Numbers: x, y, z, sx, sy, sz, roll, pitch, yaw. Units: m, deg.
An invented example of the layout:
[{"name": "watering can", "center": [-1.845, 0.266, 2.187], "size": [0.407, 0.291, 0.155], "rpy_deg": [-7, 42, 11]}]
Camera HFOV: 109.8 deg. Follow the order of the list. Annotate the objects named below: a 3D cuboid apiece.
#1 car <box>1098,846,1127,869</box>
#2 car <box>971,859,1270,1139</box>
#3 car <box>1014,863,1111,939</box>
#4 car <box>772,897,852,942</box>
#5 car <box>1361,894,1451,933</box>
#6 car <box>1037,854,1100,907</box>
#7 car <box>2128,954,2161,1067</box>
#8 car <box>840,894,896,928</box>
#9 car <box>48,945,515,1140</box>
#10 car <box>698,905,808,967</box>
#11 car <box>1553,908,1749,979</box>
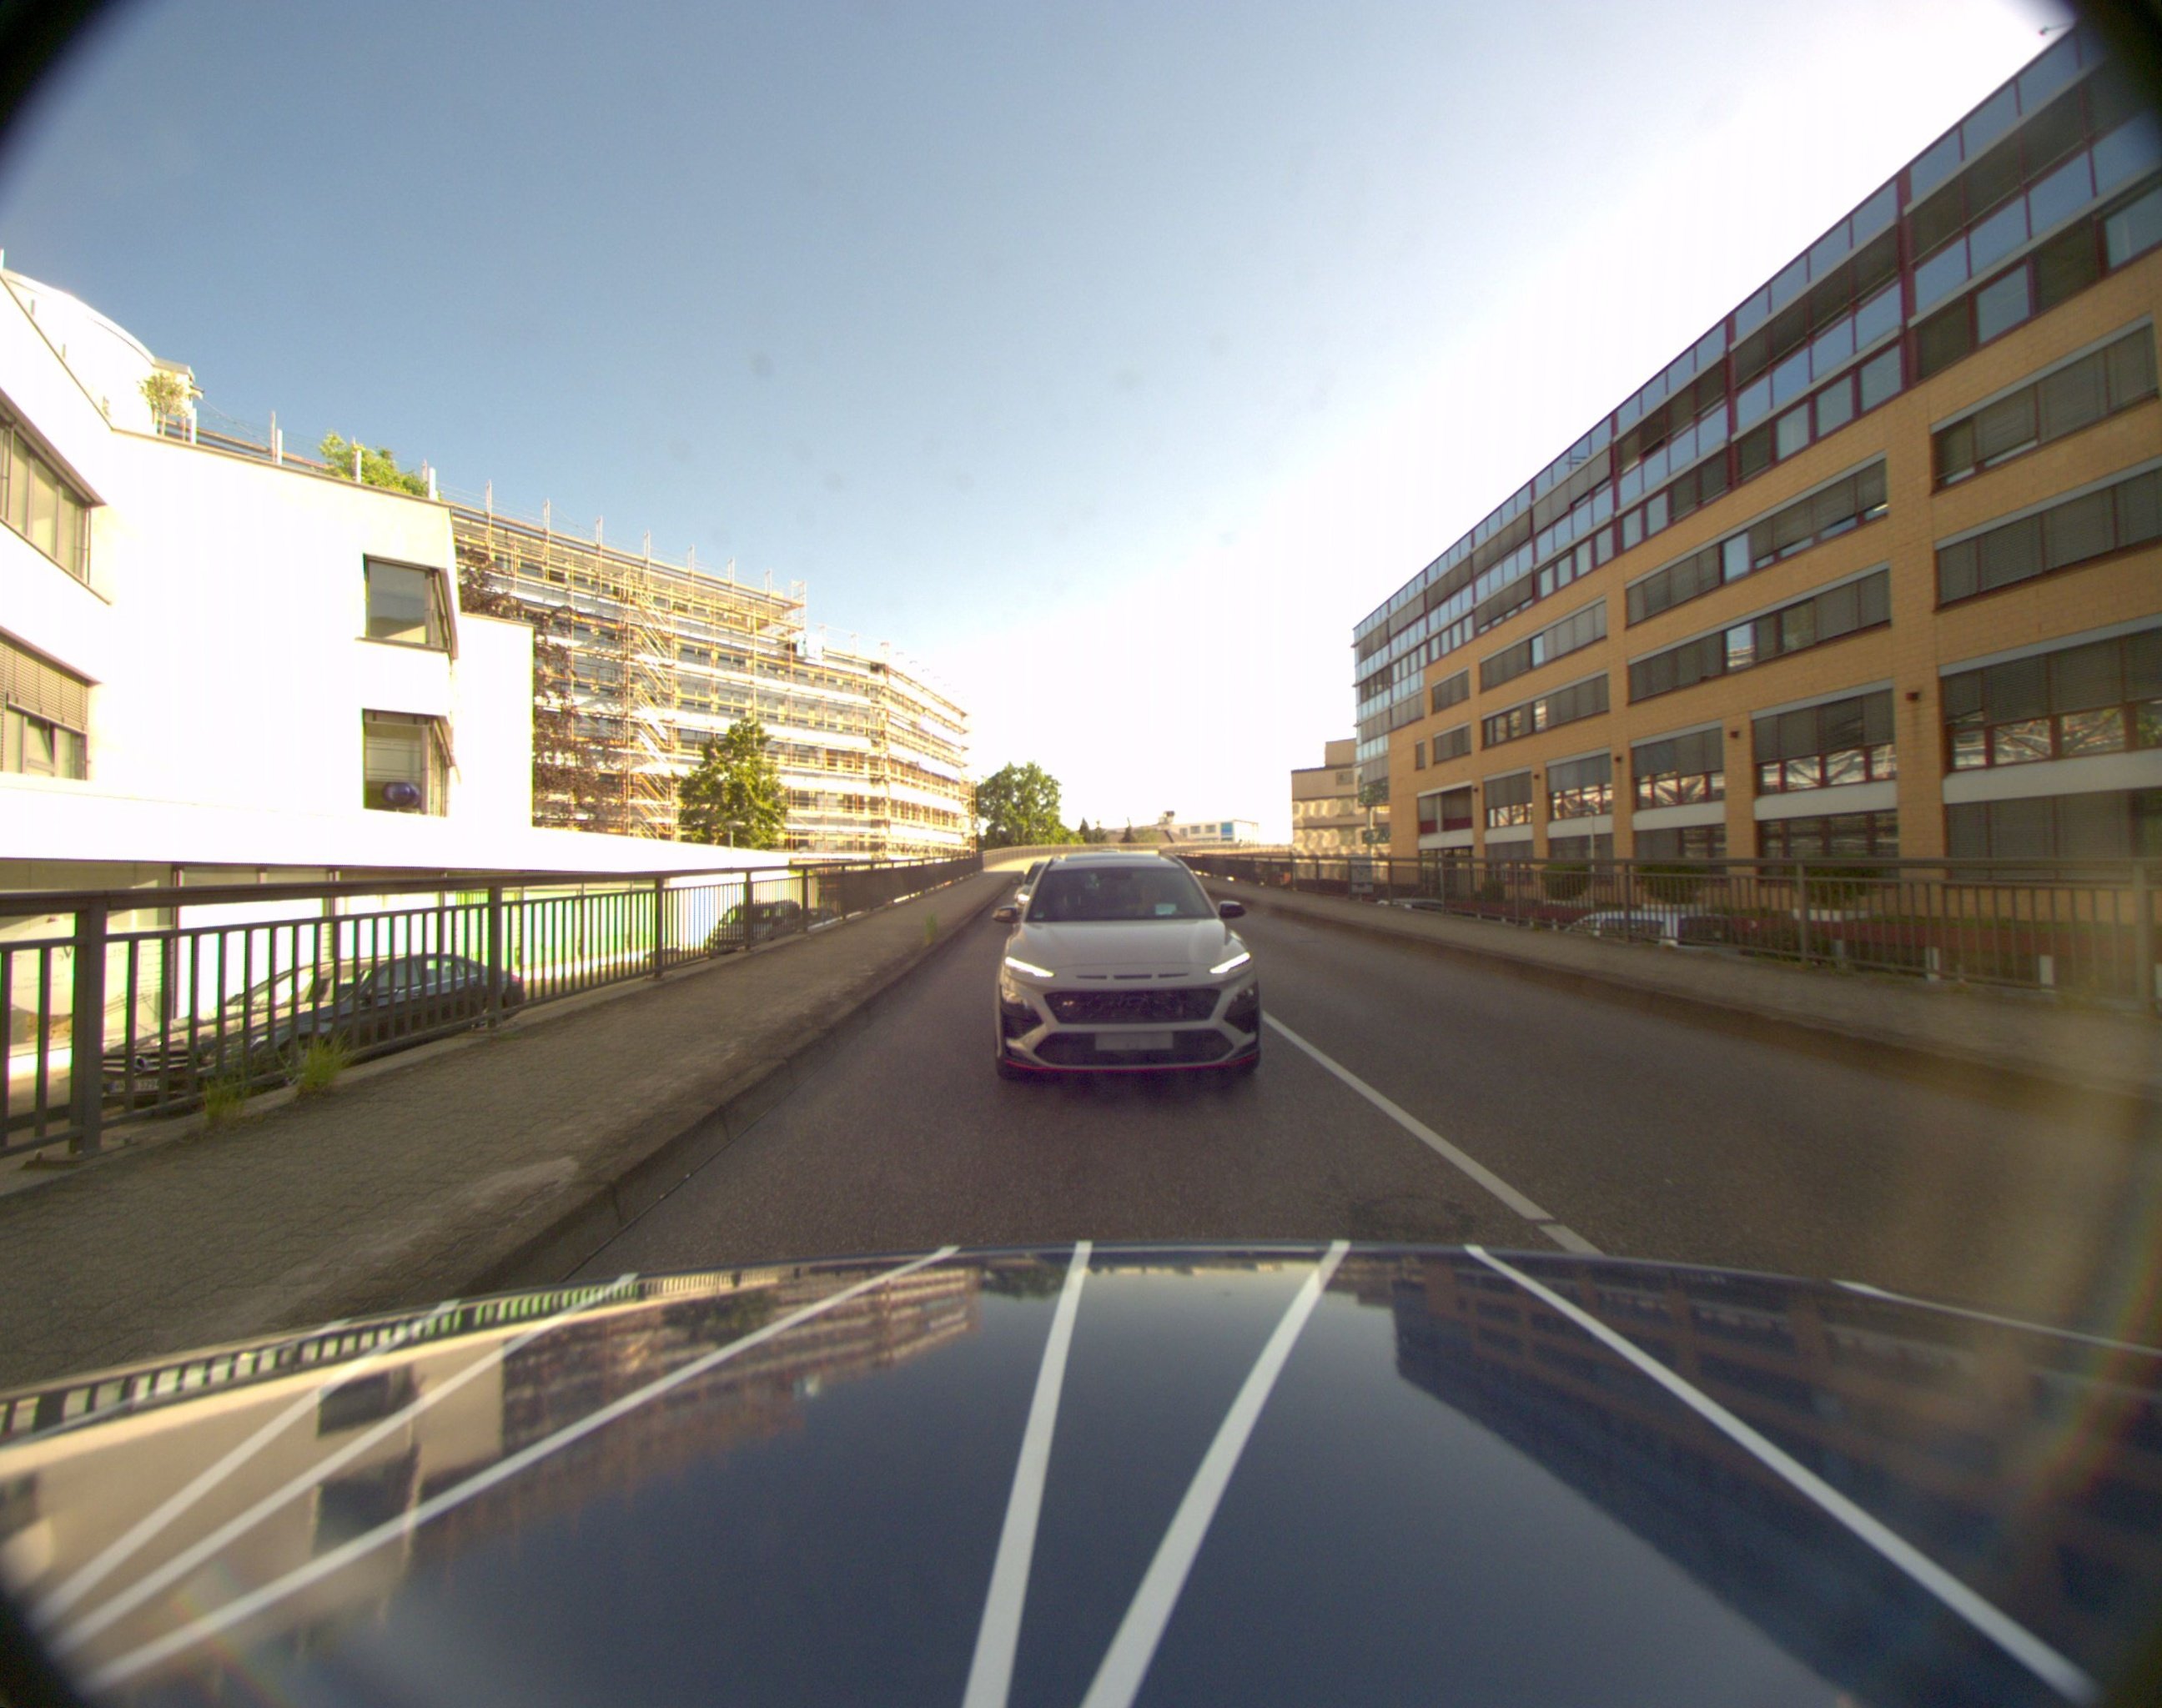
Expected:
[{"name": "car", "center": [2.237, 0.214, 55.177], "size": [1.809, 1.614, 3.998], "rpy_deg": [0, 1, -2]}, {"name": "car", "center": [0.236, 0.884, 6.463], "size": [1.749, 1.637, 4.000], "rpy_deg": [0, -1, 0]}, {"name": "car", "center": [-0.431, 0.951, 16.979], "size": [1.902, 1.433, 4.126], "rpy_deg": [0, 0, -2]}, {"name": "car", "center": [-10.371, 2.488, 29.559], "size": [1.726, 1.383, 4.000], "rpy_deg": [-2, -1, -1]}, {"name": "car", "center": [12.464, 2.241, 29.421], "size": [1.766, 1.261, 3.809], "rpy_deg": [0, -1, -2]}, {"name": "car", "center": [-0.458, 0.848, 26.358], "size": [1.952, 1.456, 3.997], "rpy_deg": [3, 3, -1]}, {"name": "car", "center": [13.239, 1.795, 7.120], "size": [1.580, 1.261, 3.809], "rpy_deg": [0, -1, -2]}, {"name": "car", "center": [-10.587, 2.790, 38.017], "size": [1.726, 1.383, 4.000], "rpy_deg": [-2, -1, -1]}, {"name": "car", "center": [-9.663, 2.161, 9.767], "size": [1.726, 1.513, 4.000], "rpy_deg": [-2, -1, 0]}, {"name": "car", "center": [-10.127, 2.477, 23.773], "size": [1.726, 1.513, 4.000], "rpy_deg": [-2, -1, -1]}, {"name": "car", "center": [12.901, 1.977, 17.518], "size": [1.580, 1.261, 3.809], "rpy_deg": [0, -1, -2]}]
